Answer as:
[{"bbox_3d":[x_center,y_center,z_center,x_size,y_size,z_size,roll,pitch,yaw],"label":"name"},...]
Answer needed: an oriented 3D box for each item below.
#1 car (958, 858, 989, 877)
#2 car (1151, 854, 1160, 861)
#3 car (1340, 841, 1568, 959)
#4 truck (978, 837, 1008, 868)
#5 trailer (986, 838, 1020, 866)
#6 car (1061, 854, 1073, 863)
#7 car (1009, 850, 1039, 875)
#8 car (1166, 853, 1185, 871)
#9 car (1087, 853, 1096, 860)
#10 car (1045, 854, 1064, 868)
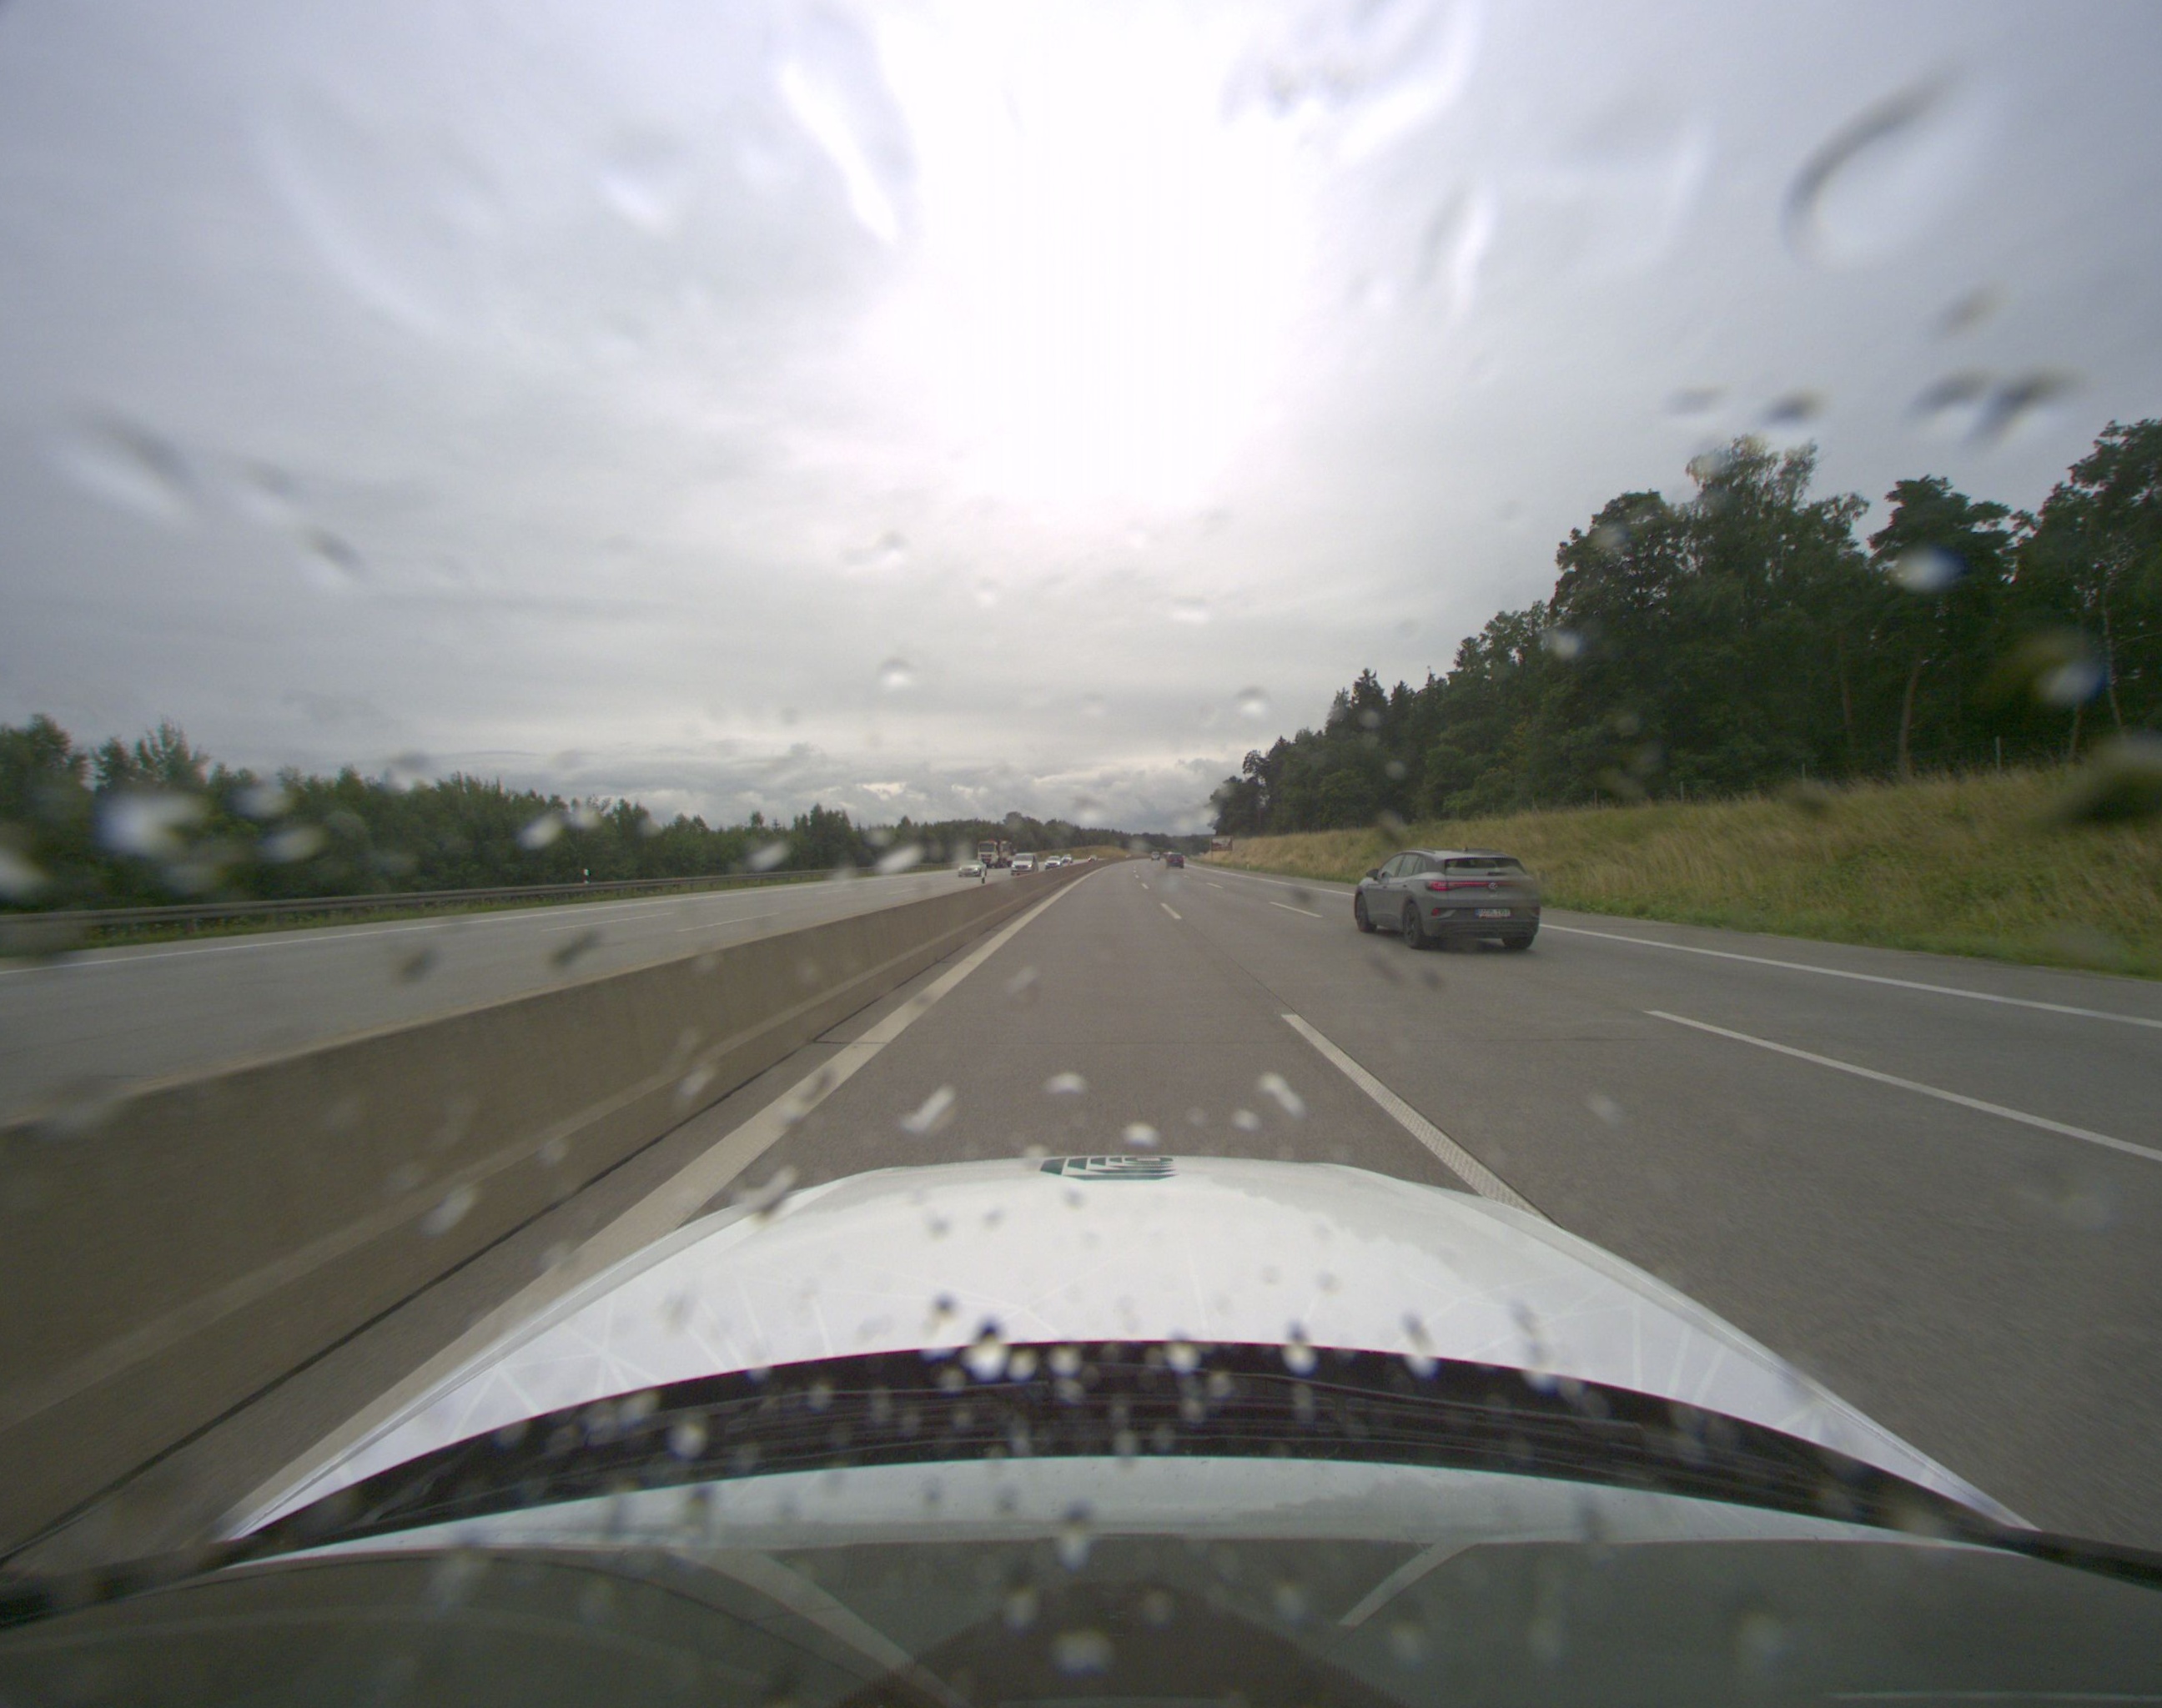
[{"bbox_3d":[-8.780,1.108,67.041,1.729,1.367,4.102,2,2,4],"label":"car"},{"bbox_3d":[17.253,0.807,189.003,1.834,1.500,4.003,-4,1,2],"label":"car"},{"bbox_3d":[6.246,0.633,14.462,1.890,1.689,5.271,0,1,3],"label":"car"},{"bbox_3d":[-11.084,-0.213,103.555,2.575,3.652,7.666,-1,0,3],"label":"truck"},{"bbox_3d":[-10.636,-0.224,112.362,2.576,3.543,13.732,-2,0,3],"label":"trailer"},{"bbox_3d":[-2.588,0.849,150.476,1.754,1.586,4.763,0,1,5],"label":"car"},{"bbox_3d":[-4.875,0.720,70.542,1.986,2.013,5.528,0,1,2],"label":"car"},{"bbox_3d":[10.494,0.838,90.755,1.778,1.746,3.918,-4,1,2],"label":"car"},{"bbox_3d":[2.156,0.535,167.473,1.756,1.267,4.495,-3,-2,2],"label":"car"},{"bbox_3d":[-3.061,0.798,93.378,1.707,1.420,4.218,2,2,4],"label":"car"}]
